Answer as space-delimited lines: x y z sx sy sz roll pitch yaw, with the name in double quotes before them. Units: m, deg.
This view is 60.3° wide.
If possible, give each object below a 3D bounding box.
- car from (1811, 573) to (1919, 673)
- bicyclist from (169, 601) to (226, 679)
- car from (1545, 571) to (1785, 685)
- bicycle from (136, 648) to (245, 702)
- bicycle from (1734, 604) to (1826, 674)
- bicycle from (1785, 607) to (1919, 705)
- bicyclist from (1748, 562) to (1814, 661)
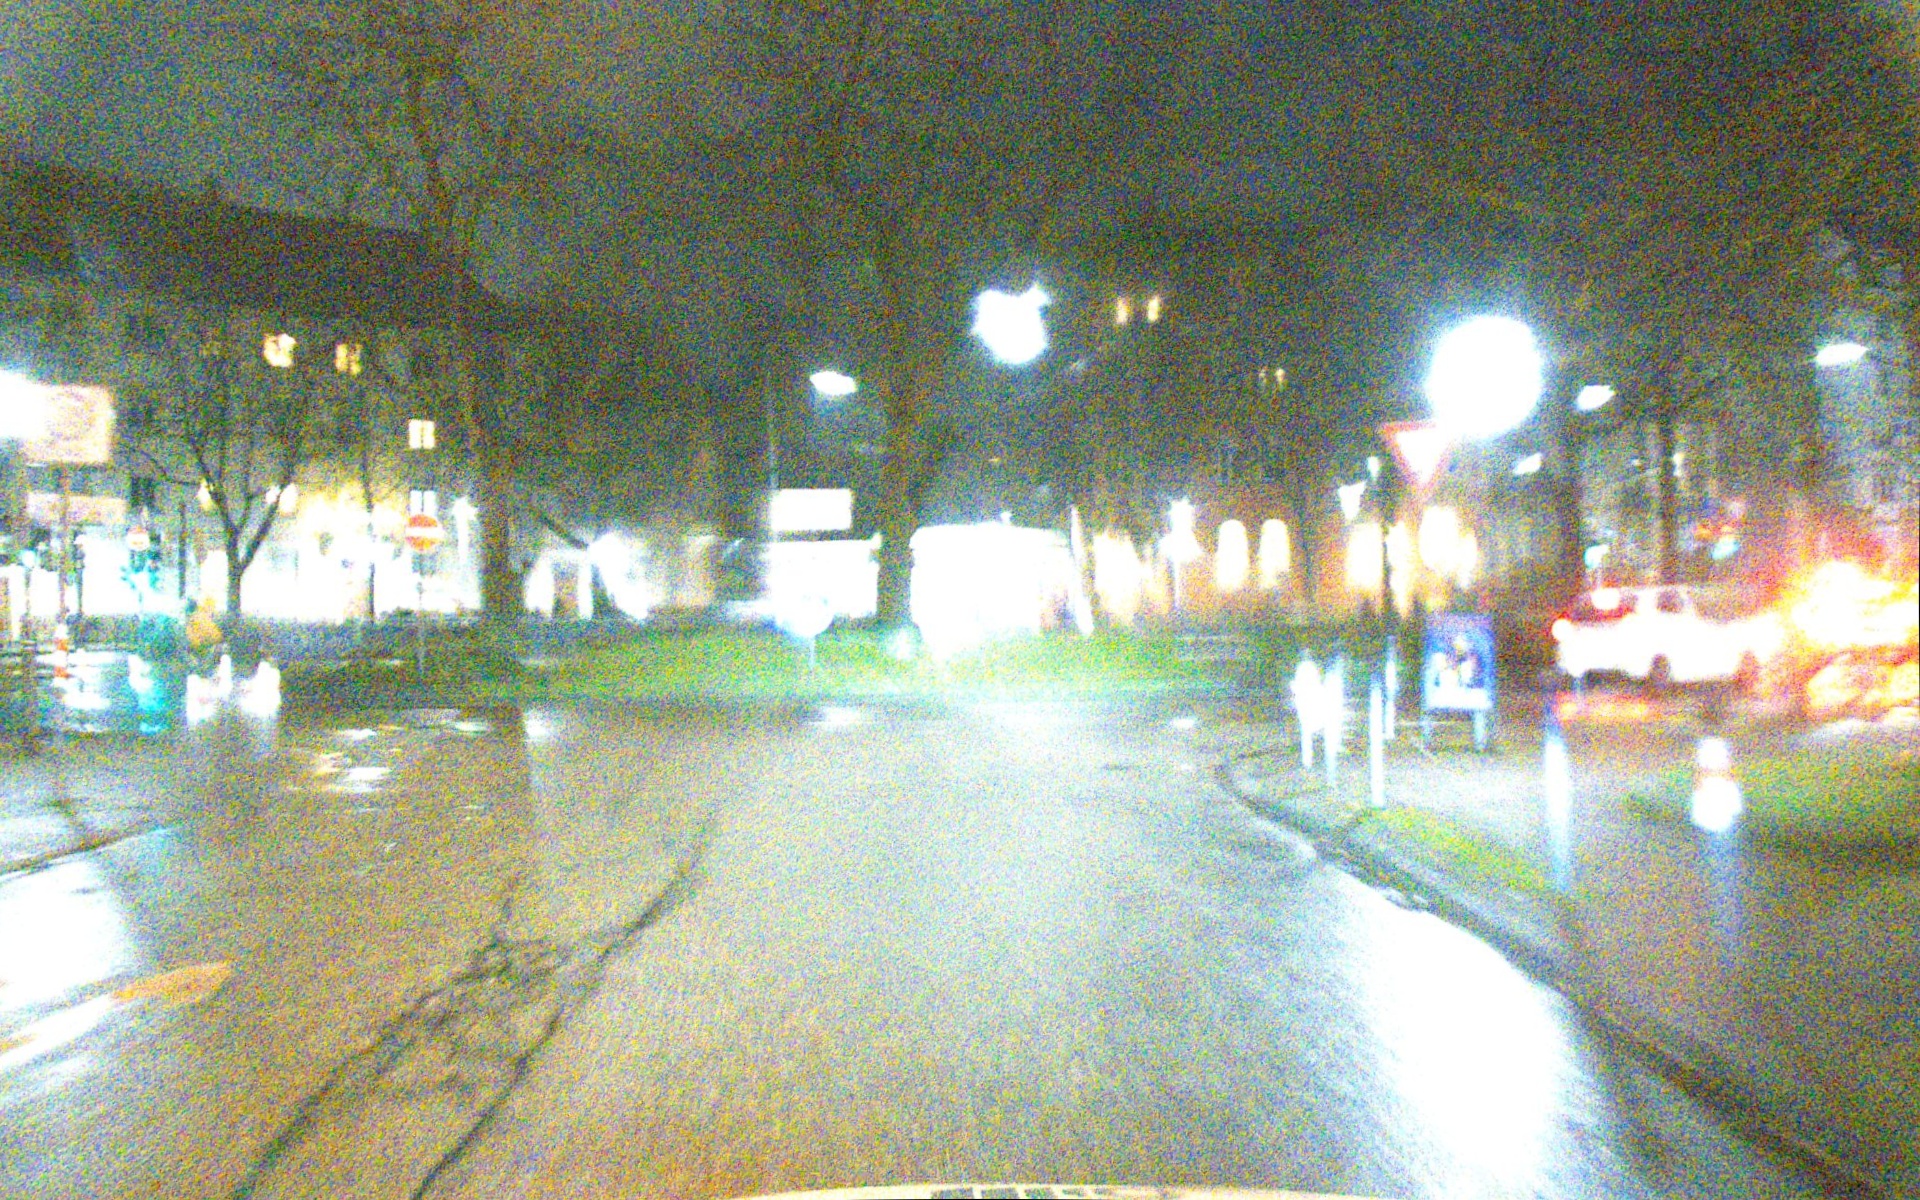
"car" 17.710 0.447 31.241 1.965 1.758 3.975 1 -1 42
"bicyclist" -13.853 0.726 30.060 0.880 1.404 0.501 2 -1 -25
"car" 10.896 0.444 25.531 3.414 1.642 1.719 2 -1 -31
"bicycle" -13.947 1.362 30.023 1.756 0.948 0.495 2 -1 -26
"bicycle" 14.283 0.680 28.786 1.698 1.169 0.766 2 -1 -38
"bicycle" 10.505 0.630 19.204 0.445 1.078 1.643 -1 0 -35
"bicyclist" 14.294 0.200 28.787 0.700 1.704 0.789 2 -1 -38
